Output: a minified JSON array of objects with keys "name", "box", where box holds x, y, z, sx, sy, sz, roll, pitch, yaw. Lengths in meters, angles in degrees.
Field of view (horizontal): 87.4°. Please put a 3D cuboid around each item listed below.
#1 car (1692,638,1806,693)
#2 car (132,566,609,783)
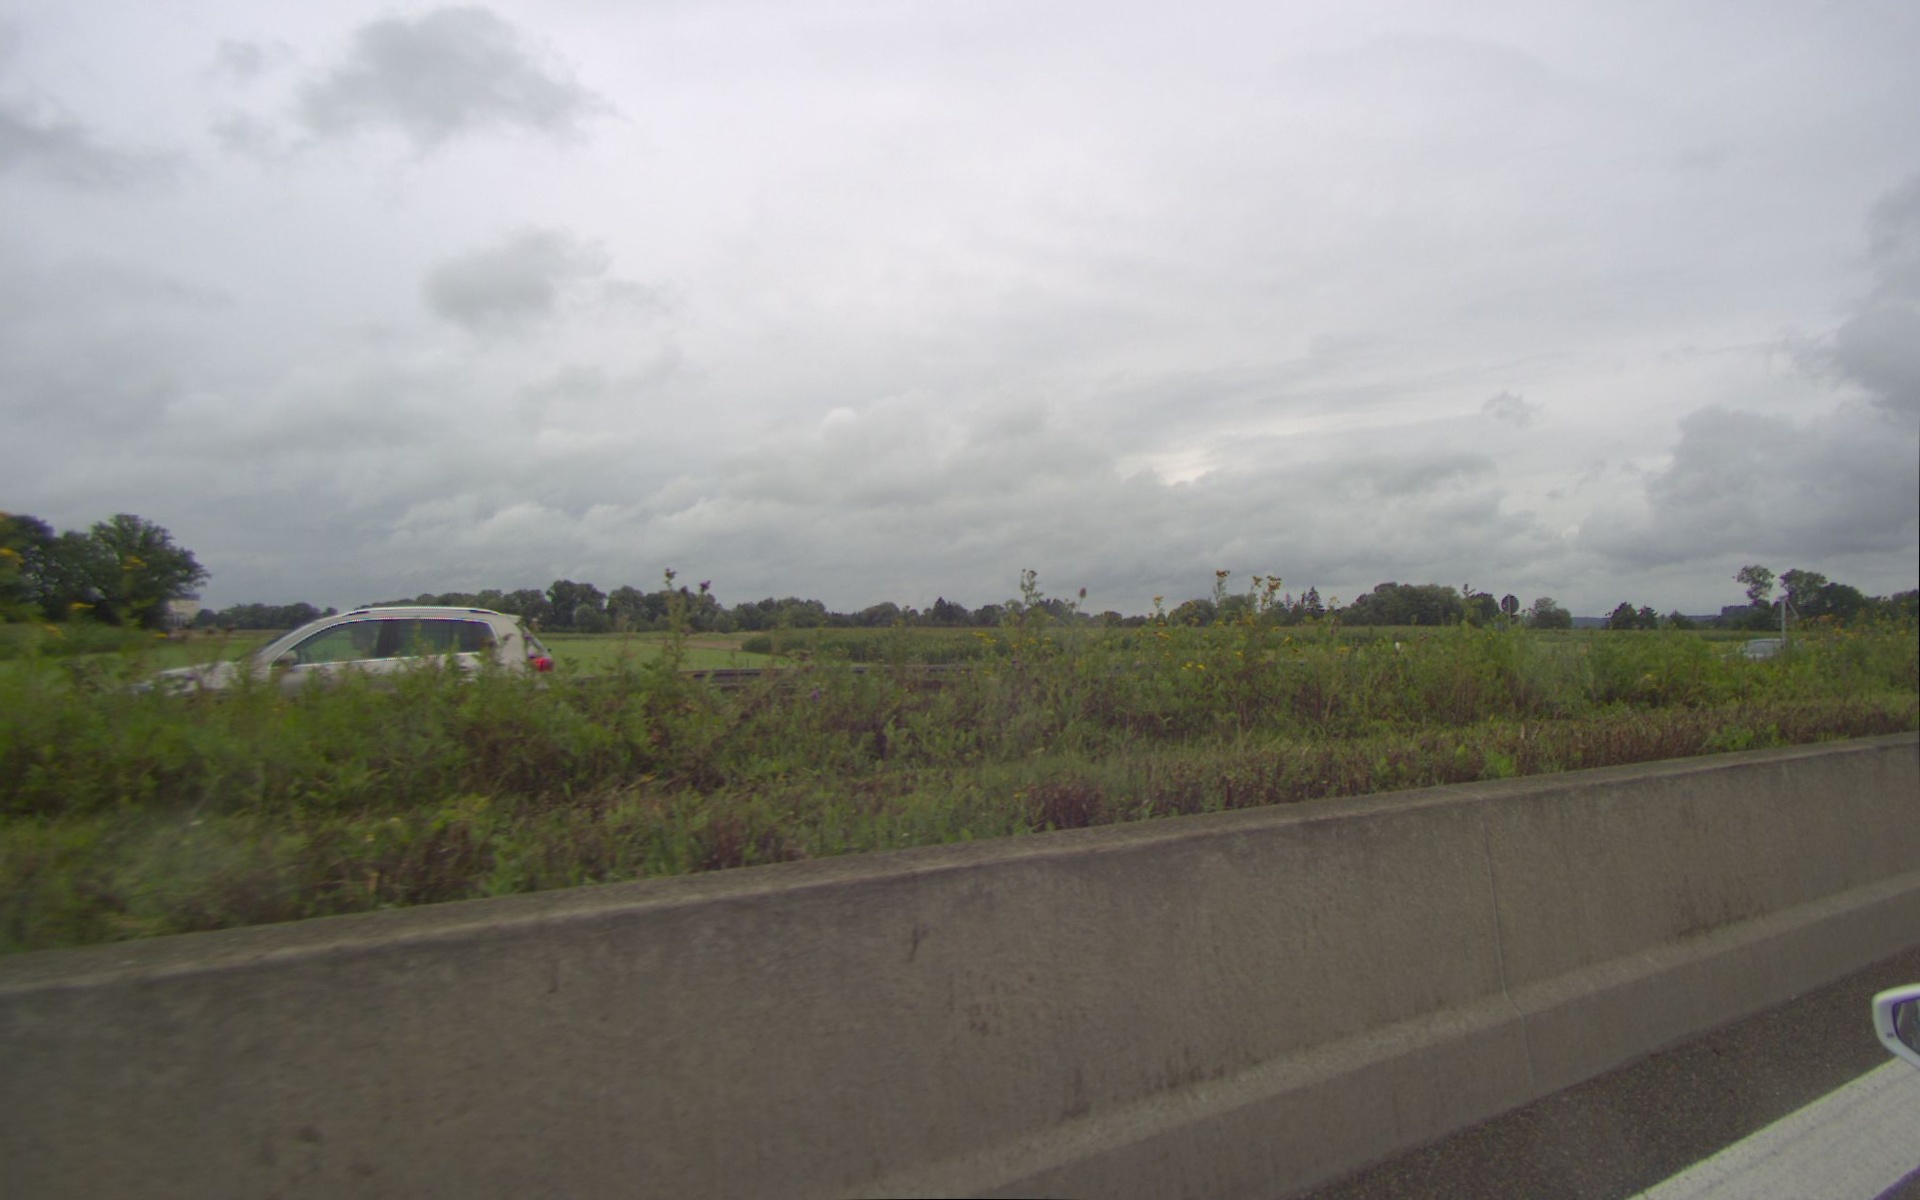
[{"name":"car","box":[27.375,2.225,34.850,3.815,1.798,1.791,1,-3,-30]},{"name":"car","box":[-6.421,0.789,11.431,4.297,2.040,1.984,1,-3,-30]}]
